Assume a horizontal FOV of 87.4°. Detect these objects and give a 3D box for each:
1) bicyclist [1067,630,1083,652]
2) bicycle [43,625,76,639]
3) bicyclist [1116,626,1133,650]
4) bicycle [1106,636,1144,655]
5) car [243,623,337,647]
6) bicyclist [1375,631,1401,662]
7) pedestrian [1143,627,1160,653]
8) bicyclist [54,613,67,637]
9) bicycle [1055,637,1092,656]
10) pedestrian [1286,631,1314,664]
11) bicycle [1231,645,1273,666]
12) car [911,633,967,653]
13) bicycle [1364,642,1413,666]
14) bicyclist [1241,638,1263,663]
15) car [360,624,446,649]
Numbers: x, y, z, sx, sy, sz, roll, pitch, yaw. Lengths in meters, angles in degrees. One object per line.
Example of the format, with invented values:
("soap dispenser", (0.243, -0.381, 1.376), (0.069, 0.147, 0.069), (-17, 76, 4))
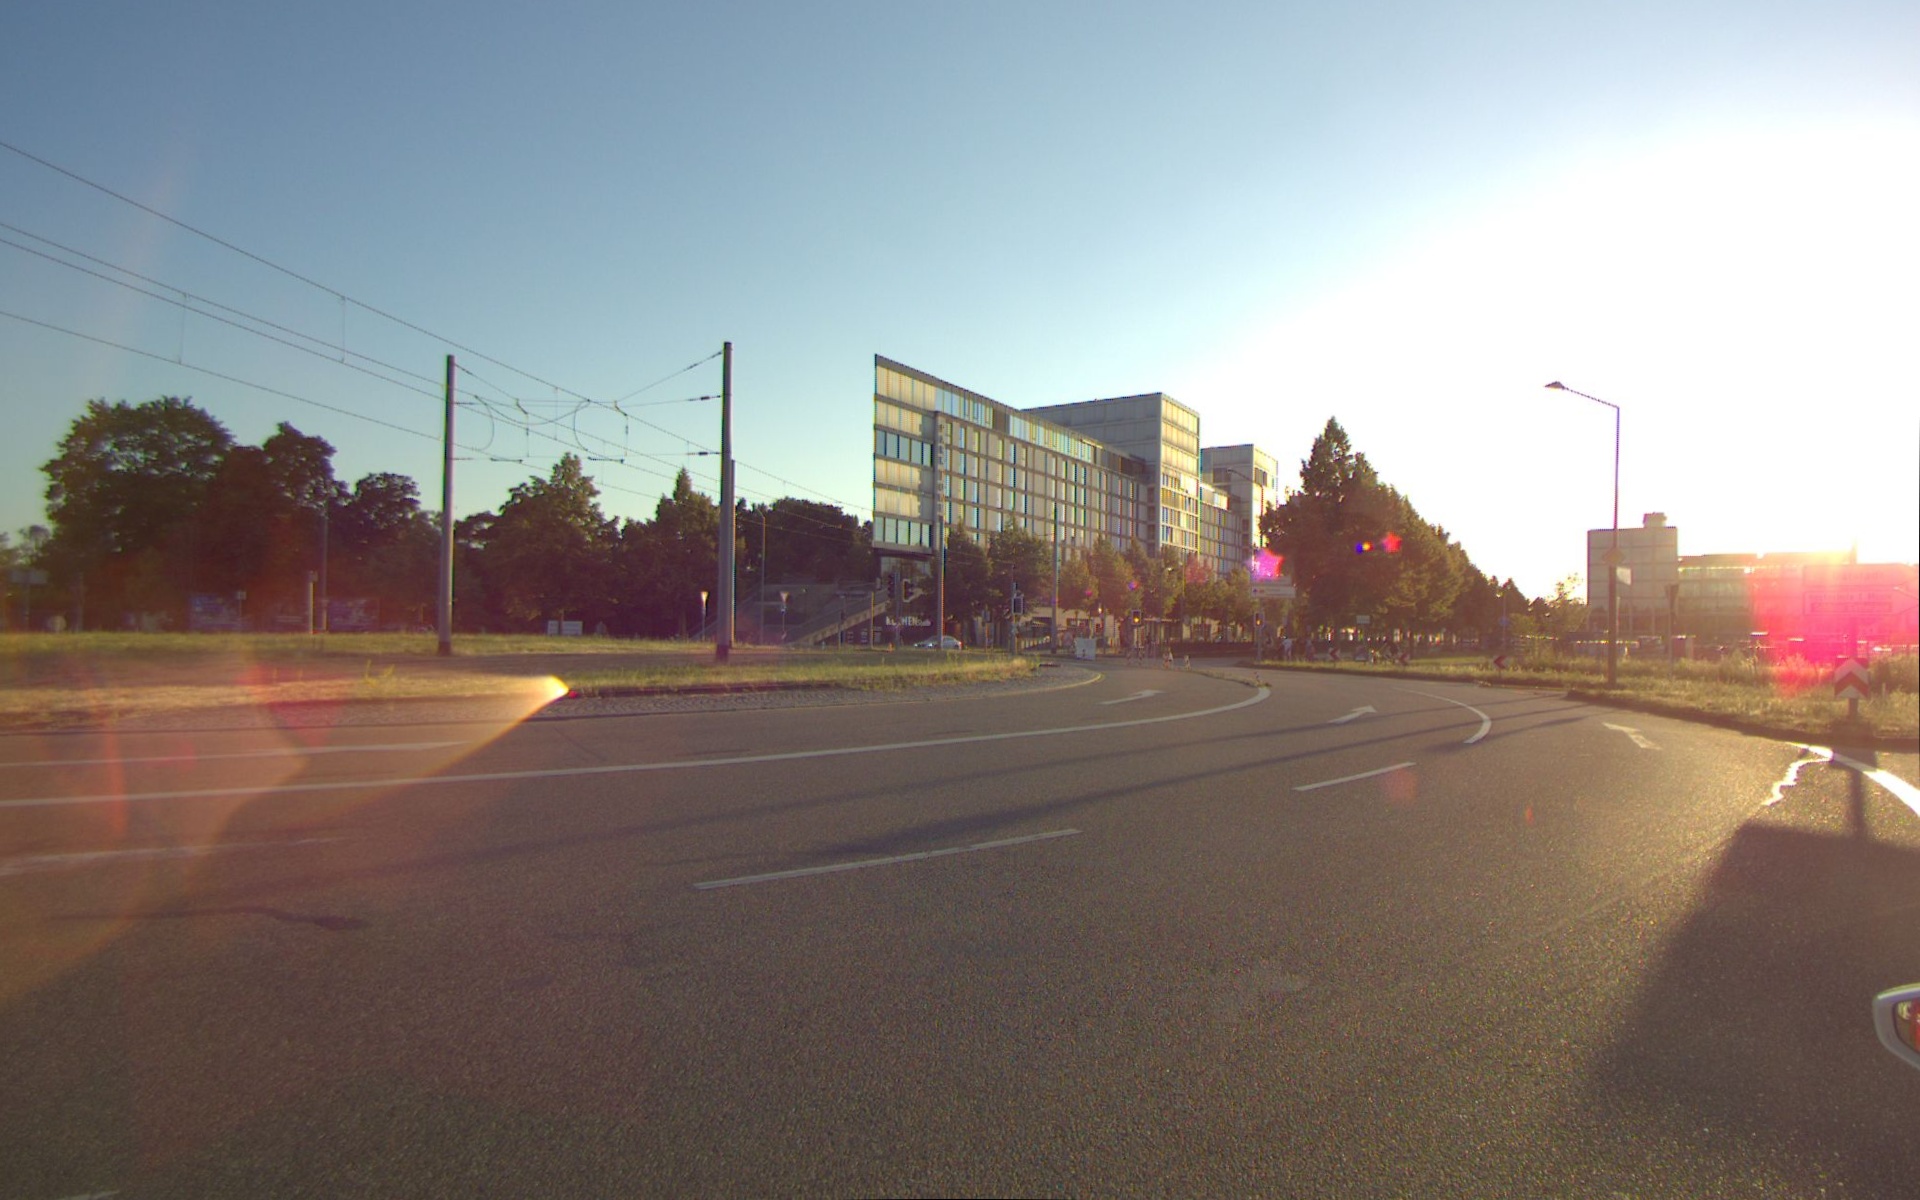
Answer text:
("bicyclist", (7.807, 2.772, 68.137), (0.862, 1.411, 0.754), (0, -1, 24))
("bicycle", (-53.618, 1.912, 59.817), (0.465, 0.802, 1.415), (0, -2, 32))
("bicyclist", (10.903, 2.510, 66.540), (0.959, 1.545, 0.754), (1, -1, 21))
("bicycle", (10.888, 3.019, 66.472), (2.362, 1.182, 0.754), (0, -1, 21))
("car", (-41.374, 2.174, 62.103), (4.504, 1.451, 1.945), (0, -2, 1))
("bicyclist", (22.526, 2.438, 52.878), (0.746, 1.634, 0.970), (2, -2, -31))
("pedestrian", (13.083, 2.707, 68.620), (0.872, 1.730, 0.794), (0, -1, 27))
("bicyclist", (-53.597, 1.481, 59.827), (0.466, 1.416, 0.447), (0, -2, 33))
("bicycle", (7.709, 3.142, 68.179), (2.364, 1.182, 0.754), (0, -2, 24))
("pedestrian", (19.285, 2.701, 57.013), (0.970, 1.851, 1.151), (2, -2, -35))
("bicycle", (17.251, 3.270, 59.320), (0.748, 1.182, 2.382), (2, -2, -40))
("car", (-1.699, 3.550, 82.963), (1.967, 1.565, 5.186), (0, -2, 35))
("bicycle", (22.527, 2.852, 52.892), (0.746, 1.182, 2.390), (2, -2, -30))
("bicyclist", (17.249, 2.977, 59.303), (0.748, 1.412, 0.967), (2, -2, -40))
("car", (-34.333, 2.247, 61.986), (4.234, 1.451, 1.945), (0, -2, 1))
